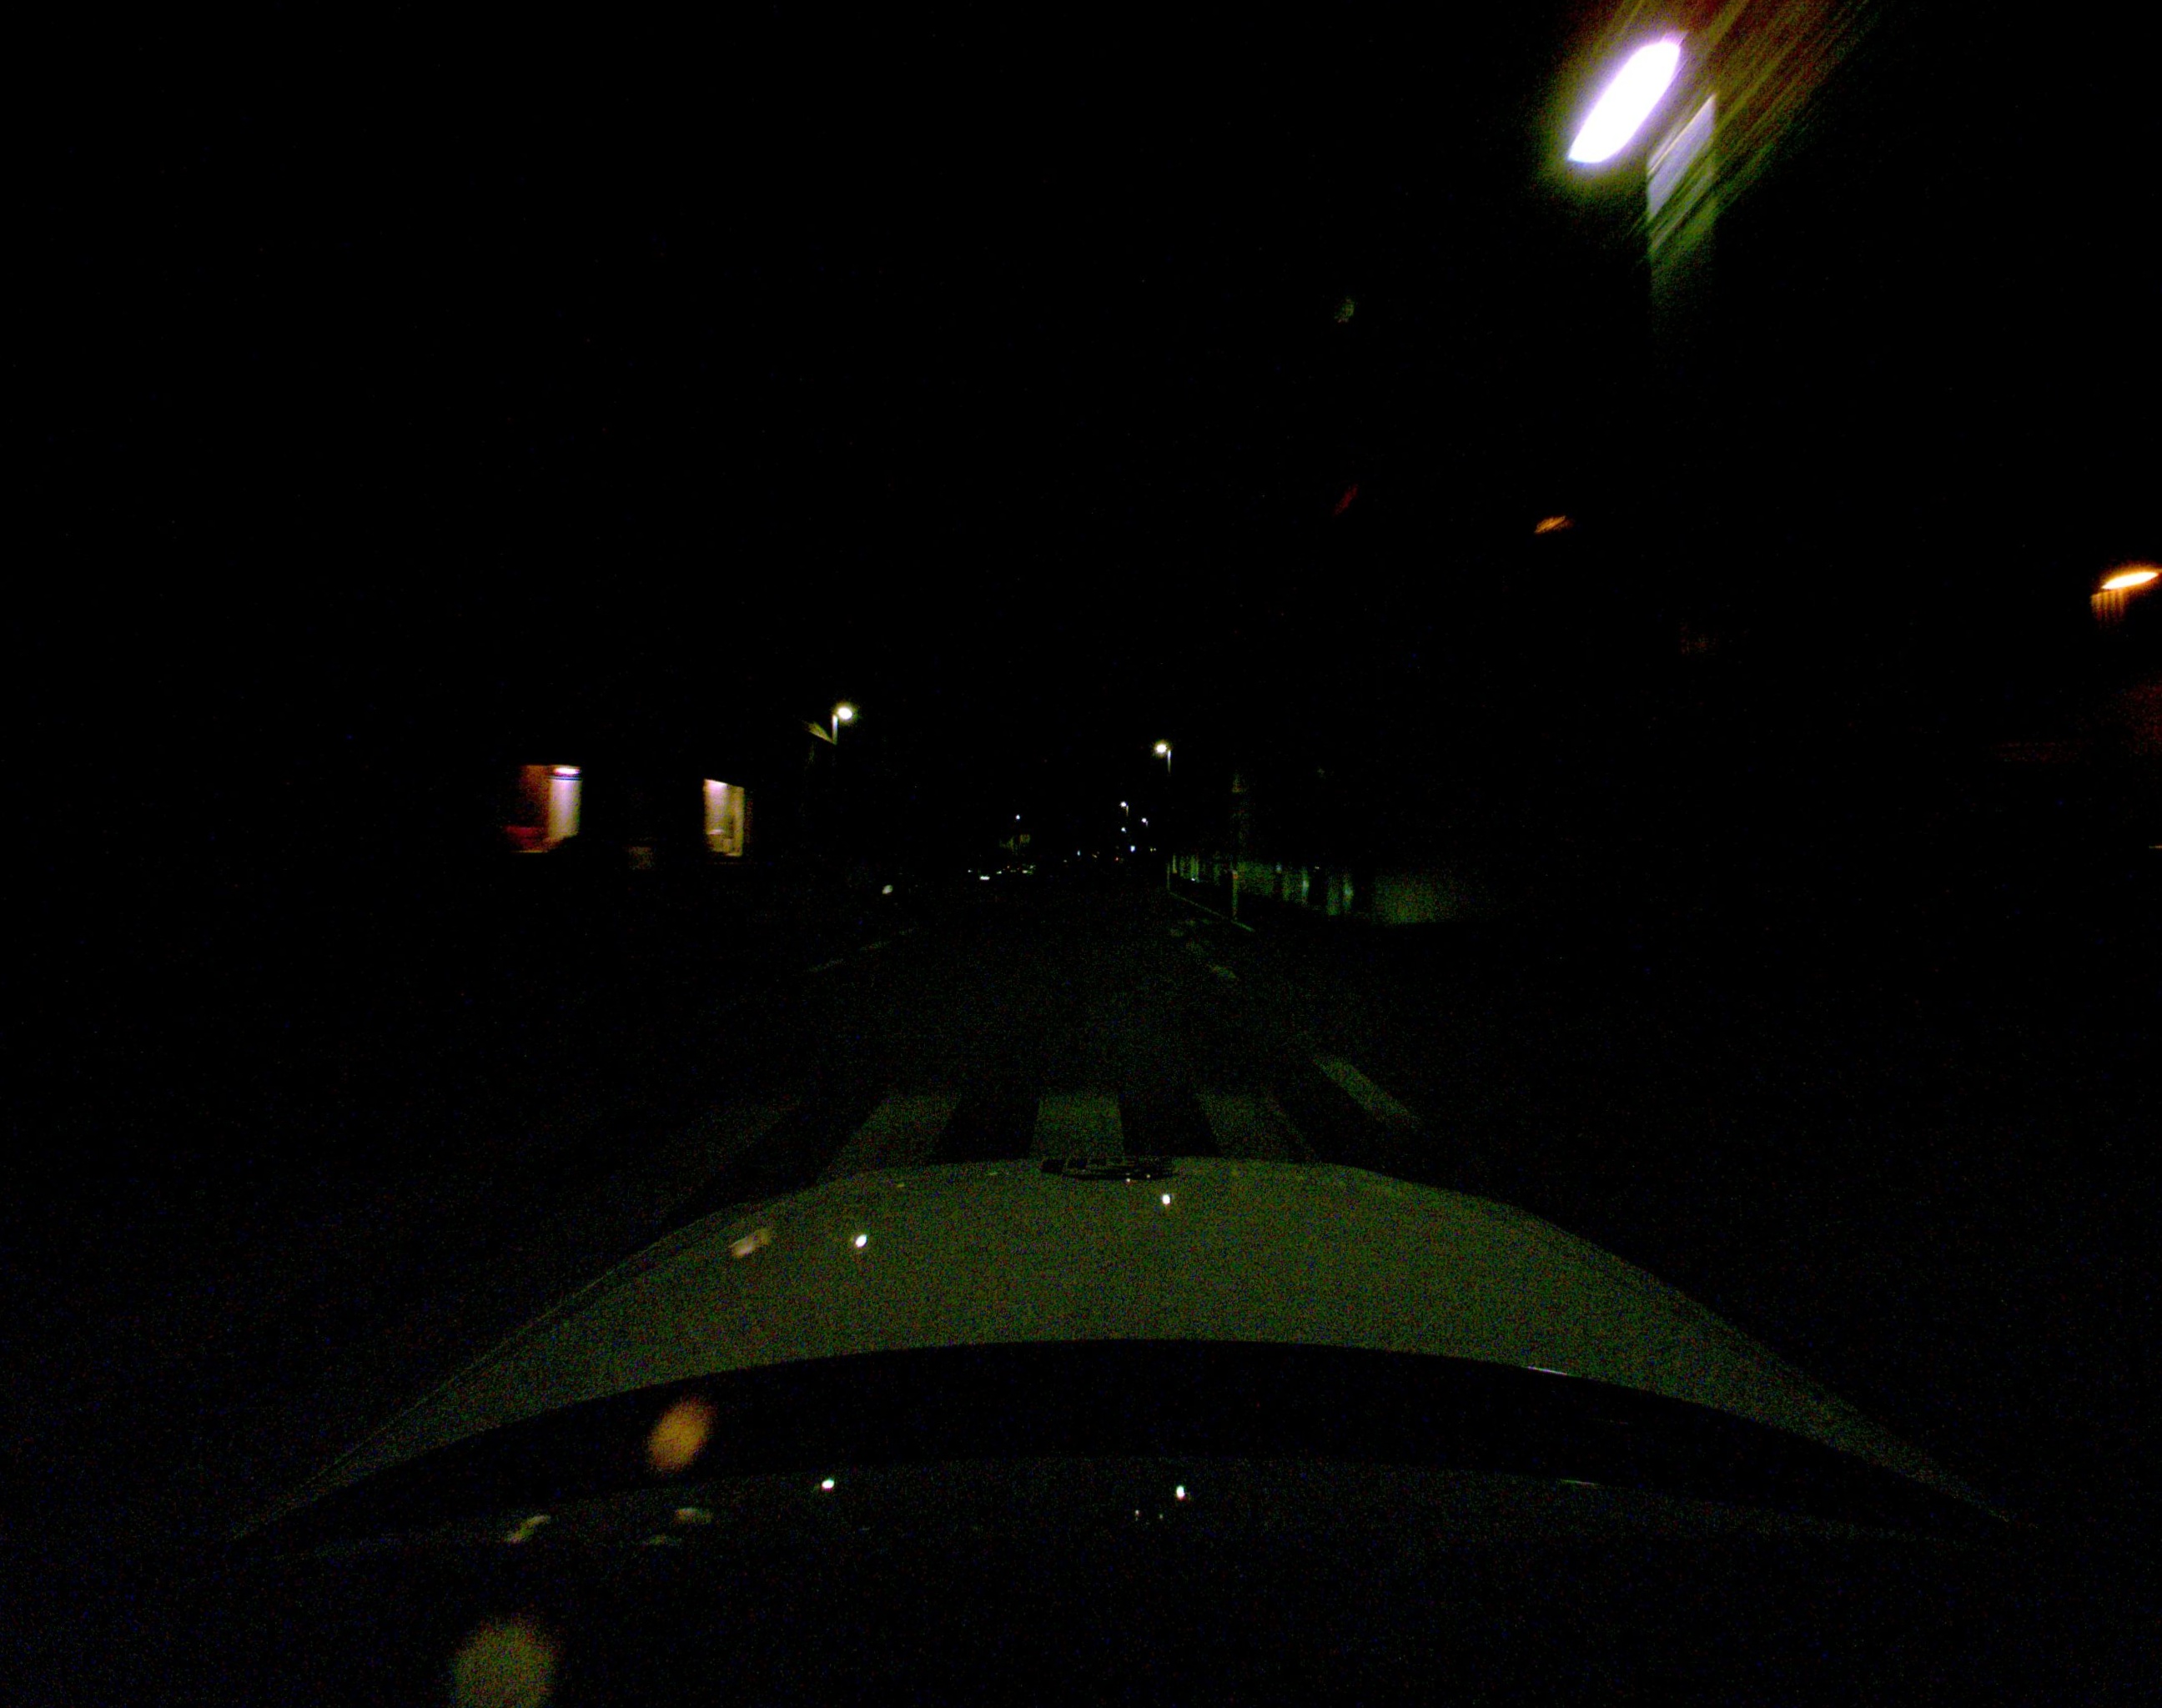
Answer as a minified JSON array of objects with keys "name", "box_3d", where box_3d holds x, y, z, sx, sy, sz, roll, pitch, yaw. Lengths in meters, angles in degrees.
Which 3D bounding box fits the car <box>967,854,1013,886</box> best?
[{"name":"car","box_3d":[-4.397,0.739,39.894,1.682,1.510,4.279,0,0,1]}]

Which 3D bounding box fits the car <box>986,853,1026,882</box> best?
[{"name":"car","box_3d":[-4.117,0.716,45.030,1.760,1.519,4.278,1,0,0]}]

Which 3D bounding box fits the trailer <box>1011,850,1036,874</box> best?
[{"name":"trailer","box_3d":[-4.343,0.603,62.223,1.442,1.688,3.428,2,0,3]}]

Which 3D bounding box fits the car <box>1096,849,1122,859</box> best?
[{"name":"car","box_3d":[5.789,0.056,170.095,5.151,1.887,2.107,-2,0,9]}]

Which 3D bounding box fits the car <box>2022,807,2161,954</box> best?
[{"name":"car","box_3d":[13.146,0.161,8.856,3.832,1.496,1.676,-4,-1,0]}]

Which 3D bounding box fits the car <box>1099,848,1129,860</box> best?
[{"name":"car","box_3d":[6.005,0.076,148.392,5.168,2.013,2.101,-2,0,-1]}]

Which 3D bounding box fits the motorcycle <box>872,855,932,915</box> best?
[{"name":"motorcycle","box_3d":[-4.555,0.754,20.850,0.741,1.452,2.201,0,0,9]}]

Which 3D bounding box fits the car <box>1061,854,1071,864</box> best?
[{"name":"car","box_3d":[-3.088,1.059,168.929,1.819,1.987,4.463,2,-1,-1]}]

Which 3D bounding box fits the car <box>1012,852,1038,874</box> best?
[{"name":"car","box_3d":[-4.005,0.644,58.995,1.666,1.522,2.977,2,0,-1]}]

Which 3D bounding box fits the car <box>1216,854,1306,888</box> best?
[{"name":"car","box_3d":[8.008,0.733,36.458,3.696,1.473,1.732,0,0,3]}]

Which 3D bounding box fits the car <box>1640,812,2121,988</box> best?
[{"name":"car","box_3d":[8.577,0.453,8.999,3.495,1.525,1.820,-4,0,-1]}]

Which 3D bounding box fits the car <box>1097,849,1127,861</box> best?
[{"name":"car","box_3d":[5.543,0.118,145.321,5.168,2.013,2.101,-2,0,-1]}]
